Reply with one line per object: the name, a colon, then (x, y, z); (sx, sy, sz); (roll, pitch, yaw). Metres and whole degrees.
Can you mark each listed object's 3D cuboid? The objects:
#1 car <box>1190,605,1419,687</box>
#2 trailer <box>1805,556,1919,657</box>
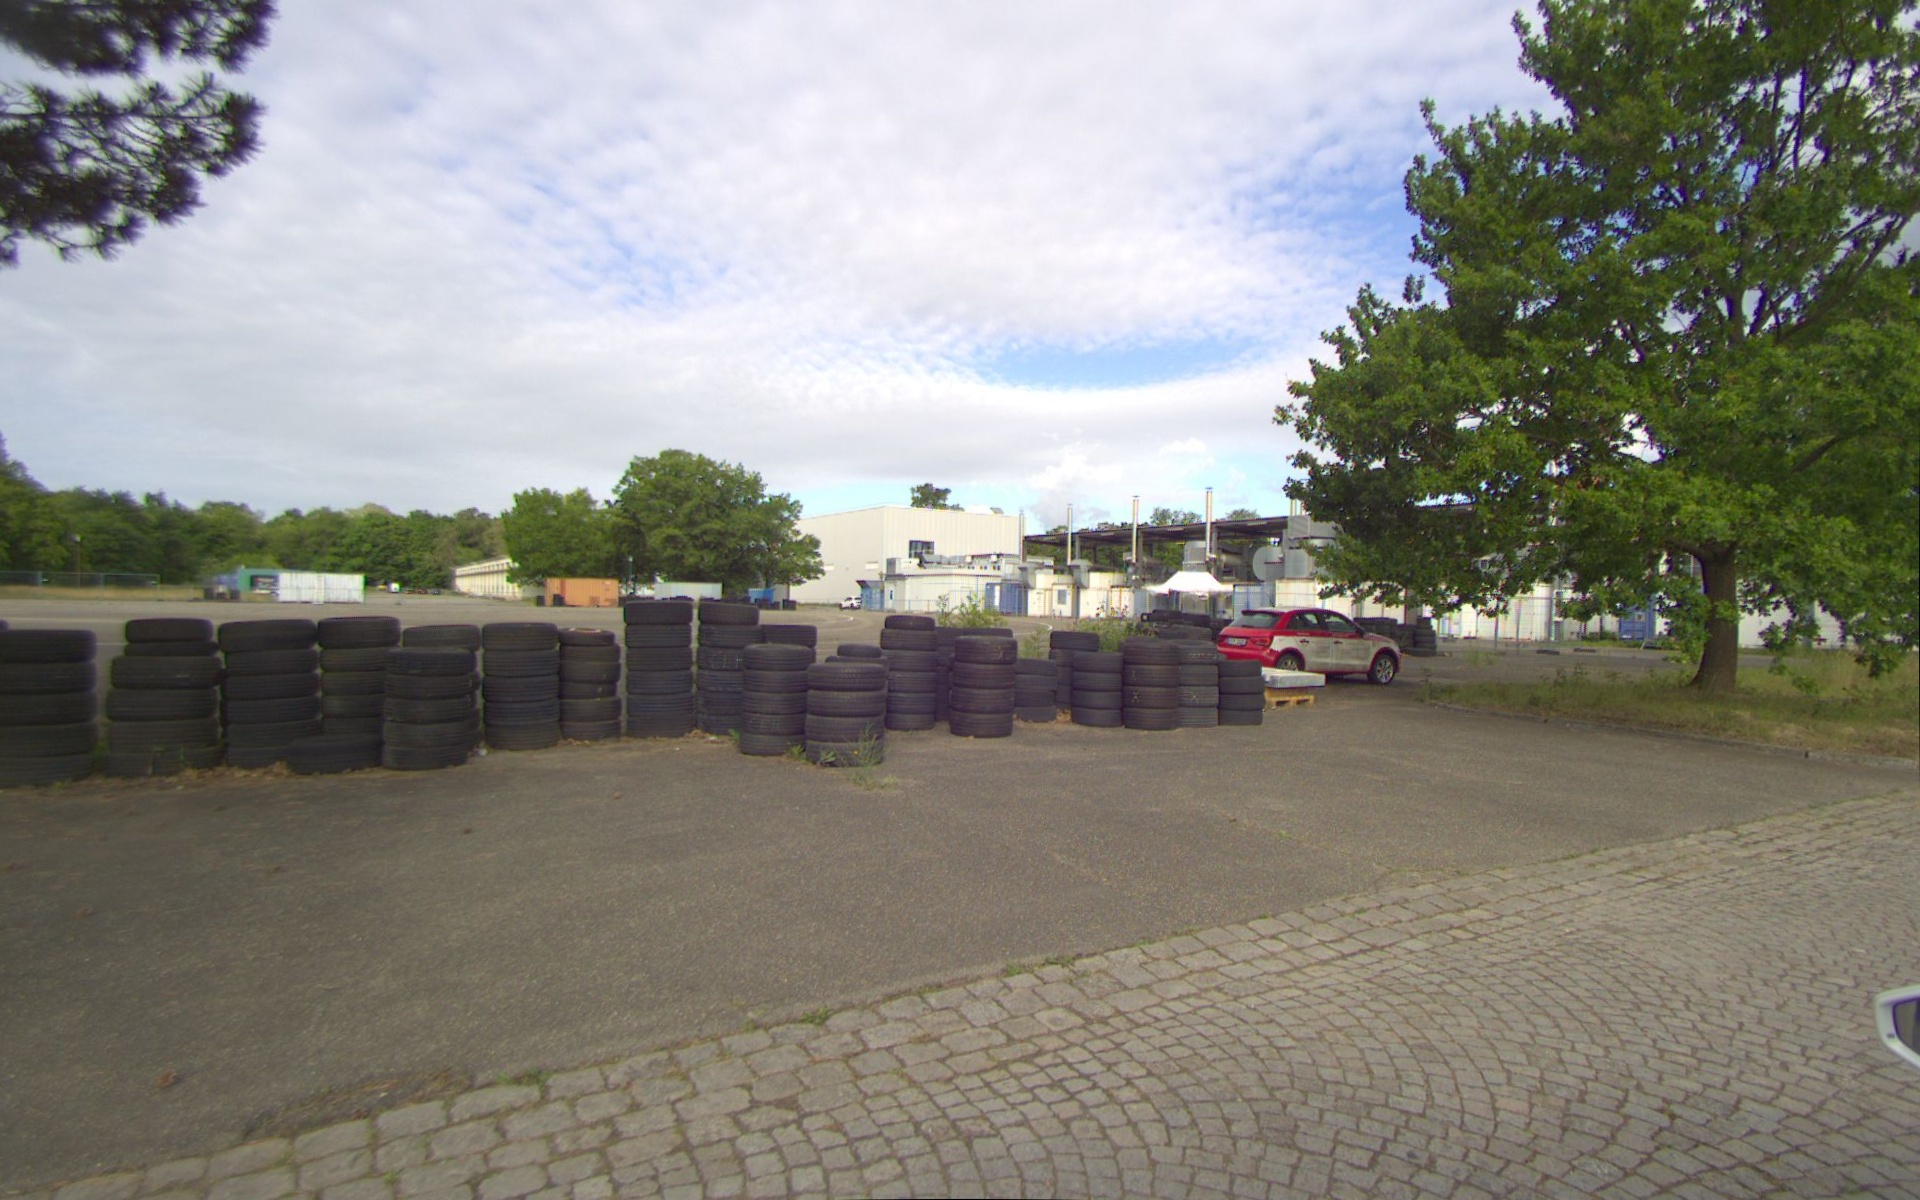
car: (6.731, 0.862, 19.608); (4.162, 1.451, 1.818); (1, 0, -26)
trailer: (38.601, 0.329, 41.055); (10.591, 3.755, 2.645); (1, 0, -29)
